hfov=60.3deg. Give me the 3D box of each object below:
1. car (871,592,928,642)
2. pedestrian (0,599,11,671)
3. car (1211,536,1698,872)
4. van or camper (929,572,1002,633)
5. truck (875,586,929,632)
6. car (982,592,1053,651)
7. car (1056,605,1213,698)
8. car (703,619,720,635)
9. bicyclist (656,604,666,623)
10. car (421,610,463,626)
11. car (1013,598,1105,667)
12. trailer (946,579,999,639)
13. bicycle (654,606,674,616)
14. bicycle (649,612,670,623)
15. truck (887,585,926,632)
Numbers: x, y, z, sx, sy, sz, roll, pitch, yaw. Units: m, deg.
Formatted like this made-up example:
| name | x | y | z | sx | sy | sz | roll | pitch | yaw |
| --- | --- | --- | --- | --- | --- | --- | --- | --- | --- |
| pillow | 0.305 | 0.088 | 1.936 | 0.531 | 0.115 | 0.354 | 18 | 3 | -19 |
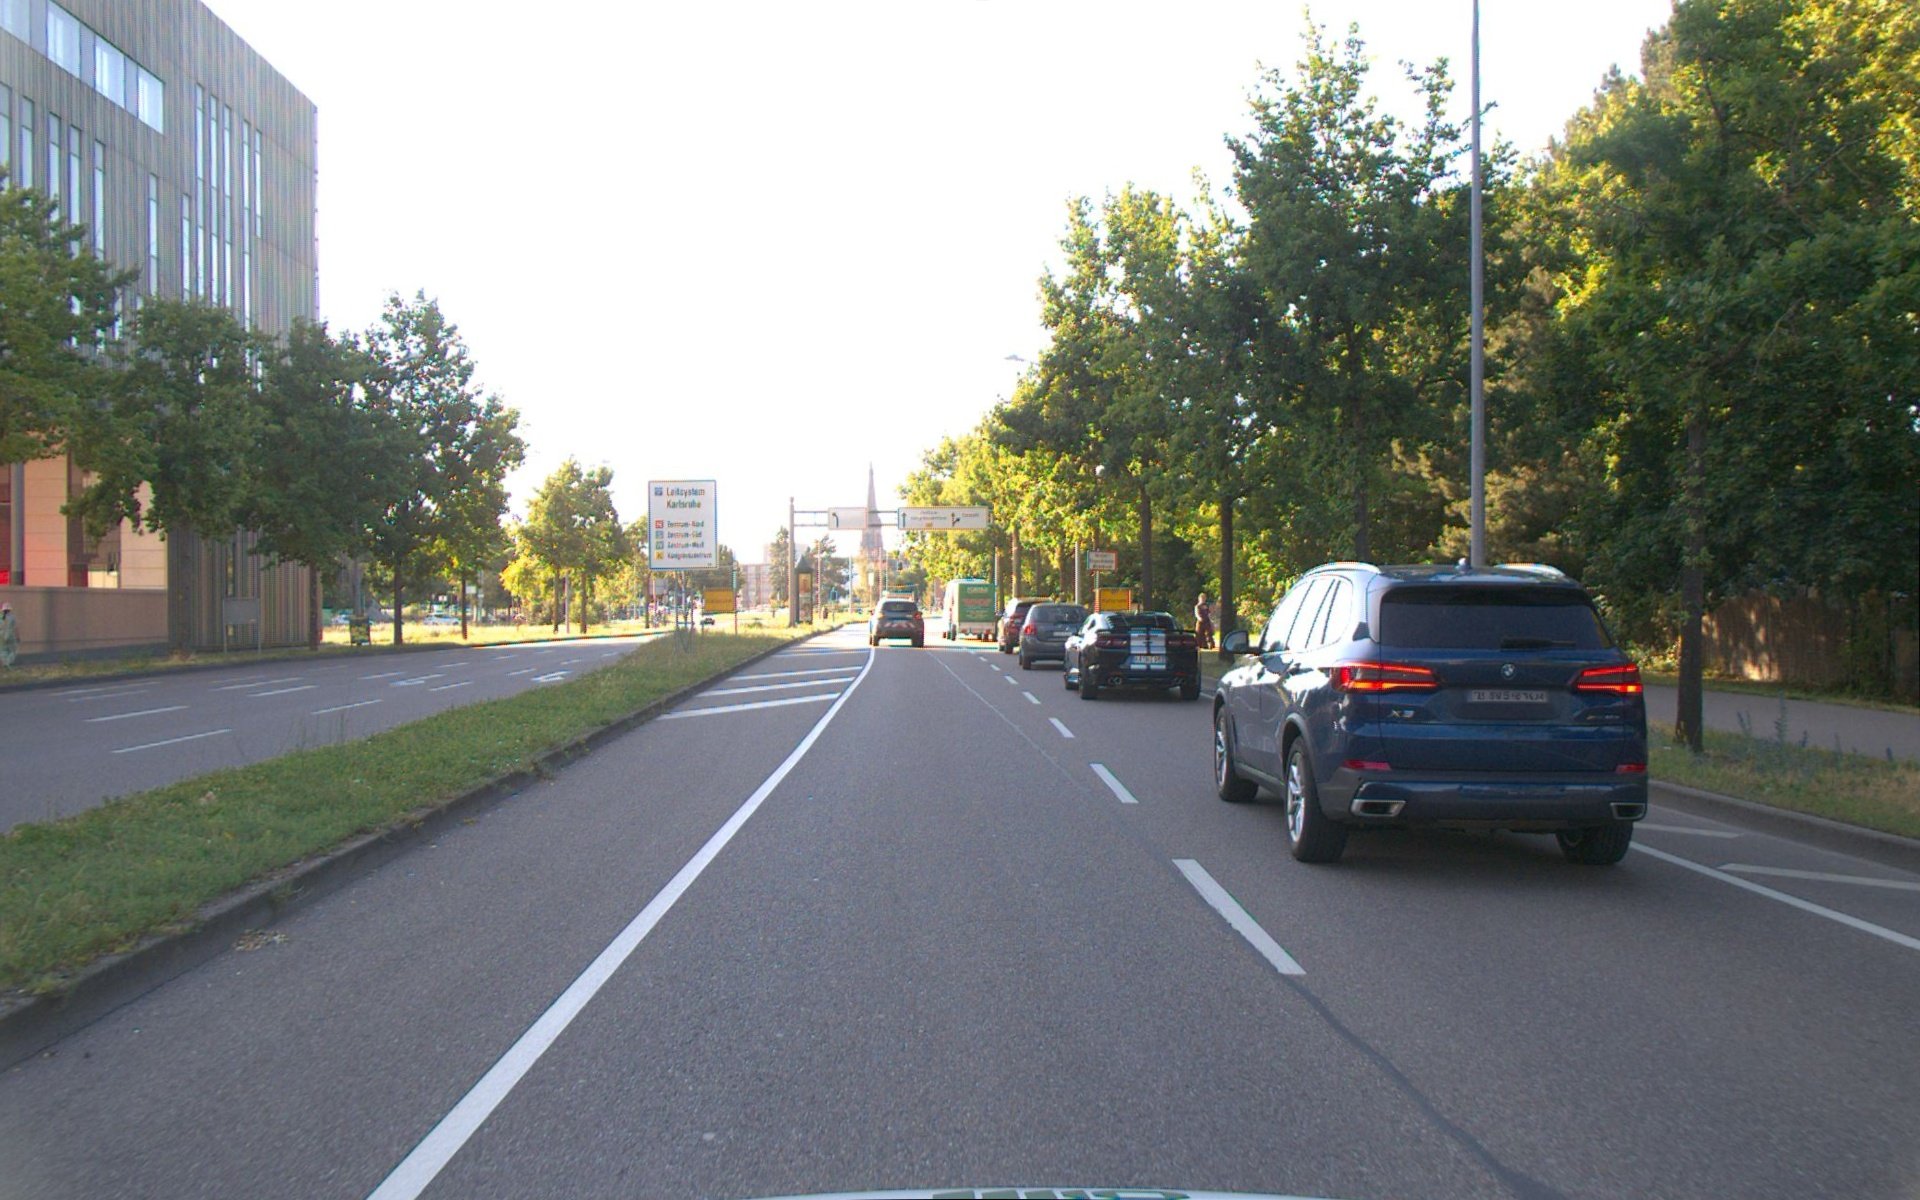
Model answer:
| name | x | y | z | sx | sy | sz | roll | pitch | yaw |
| --- | --- | --- | --- | --- | --- | --- | --- | --- | --- |
| car | -2.170 | 0.583 | 58.188 | 1.868 | 1.689 | 3.996 | -1 | 0 | -4 |
| pedestrian | -25.368 | 0.910 | 43.326 | 0.620 | 1.873 | 0.716 | 0 | 0 | -2 |
| car | 2.974 | 0.577 | 11.104 | 1.914 | 1.757 | 4.699 | 1 | -1 | 1 |
| van or camper | 0.197 | 0.126 | 76.343 | 2.243 | 2.675 | 6.567 | 1 | 0 | -10 |
| truck | -3.501 | 0.529 | 97.889 | 2.532 | 2.602 | 6.240 | -1 | 0 | -8 |
| car | 1.663 | 0.648 | 49.008 | 1.712 | 1.649 | 3.816 | 1 | -1 | -3 |
| car | 2.726 | 0.774 | 26.905 | 1.817 | 1.361 | 4.622 | 1 | 0 | -3 |
| car | -25.485 | 2.728 | 169.681 | 1.532 | 1.602 | 3.408 | 0 | 0 | -6 |
| bicyclist | -28.466 | 1.253 | 157.364 | 0.795 | 1.801 | 0.497 | 1 | -1 | 12 |
| car | -52.535 | 1.788 | 167.684 | 1.843 | 1.534 | 3.683 | -1 | 0 | 44 |
| car | 2.218 | 0.708 | 38.039 | 1.712 | 1.499 | 3.817 | -1 | 0 | -3 |
| trailer | 0.508 | 0.378 | 70.442 | 2.048 | 2.442 | 3.499 | 1 | 0 | -3 |
| bicycle | -28.396 | 1.060 | 158.657 | 1.868 | 1.037 | 0.504 | 0 | 0 | 4 |
| bicycle | -28.622 | 1.669 | 157.396 | 1.867 | 1.037 | 0.505 | 0 | -1 | 12 |
| truck | -3.249 | 0.504 | 99.708 | 2.176 | 2.697 | 4.769 | 0 | 0 | -4 |
